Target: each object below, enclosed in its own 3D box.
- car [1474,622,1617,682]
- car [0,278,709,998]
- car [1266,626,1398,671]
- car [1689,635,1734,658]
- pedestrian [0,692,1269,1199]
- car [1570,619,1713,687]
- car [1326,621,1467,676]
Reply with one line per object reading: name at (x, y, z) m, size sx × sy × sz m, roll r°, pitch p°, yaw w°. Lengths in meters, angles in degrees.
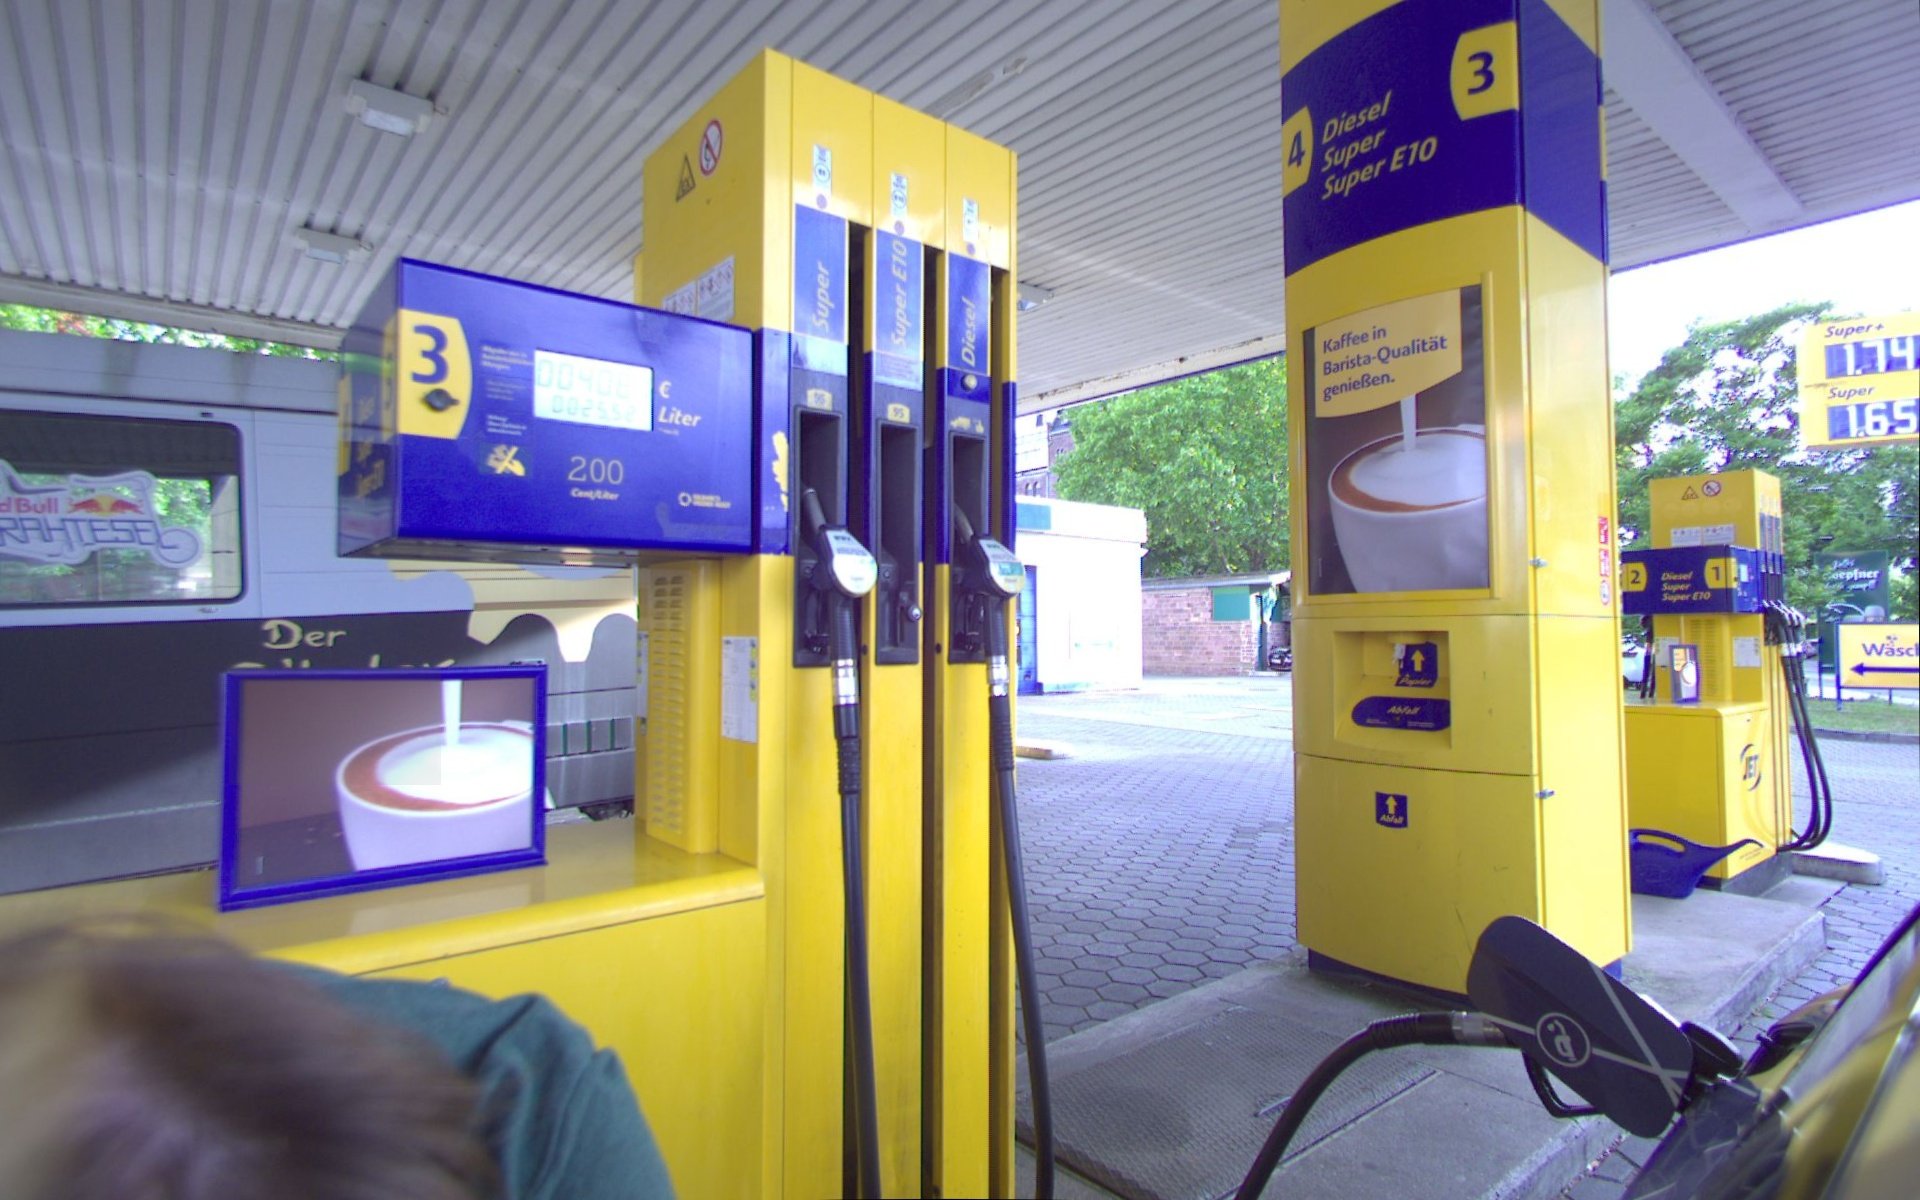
car at (17.842, 1.588, 30.806) m, size 4.303 × 1.622 × 1.776 m, roll 4°, pitch -4°, yaw -28°
car at (-4.115, 0.161, 4.899) m, size 5.197 × 2.726 × 2.258 m, roll 1°, pitch -2°, yaw -39°
car at (12.686, 1.652, 34.433) m, size 4.303 × 1.393 × 1.777 m, roll 2°, pitch -1°, yaw -28°
car at (49.334, 3.034, 66.517) m, size 1.673 × 1.452 × 3.396 m, roll -2°, pitch -3°, yaw 26°
pedestrian at (-0.340, 0.750, 0.552) m, size 0.662 × 1.298 × 0.751 m, roll 0°, pitch 0°, yaw -41°
car at (18.351, 1.445, 27.207) m, size 4.308 × 1.622 × 1.774 m, roll 4°, pitch -4°, yaw -35°
car at (13.882, 1.529, 32.142) m, size 4.303 × 1.622 × 1.777 m, roll 2°, pitch -1°, yaw -28°
